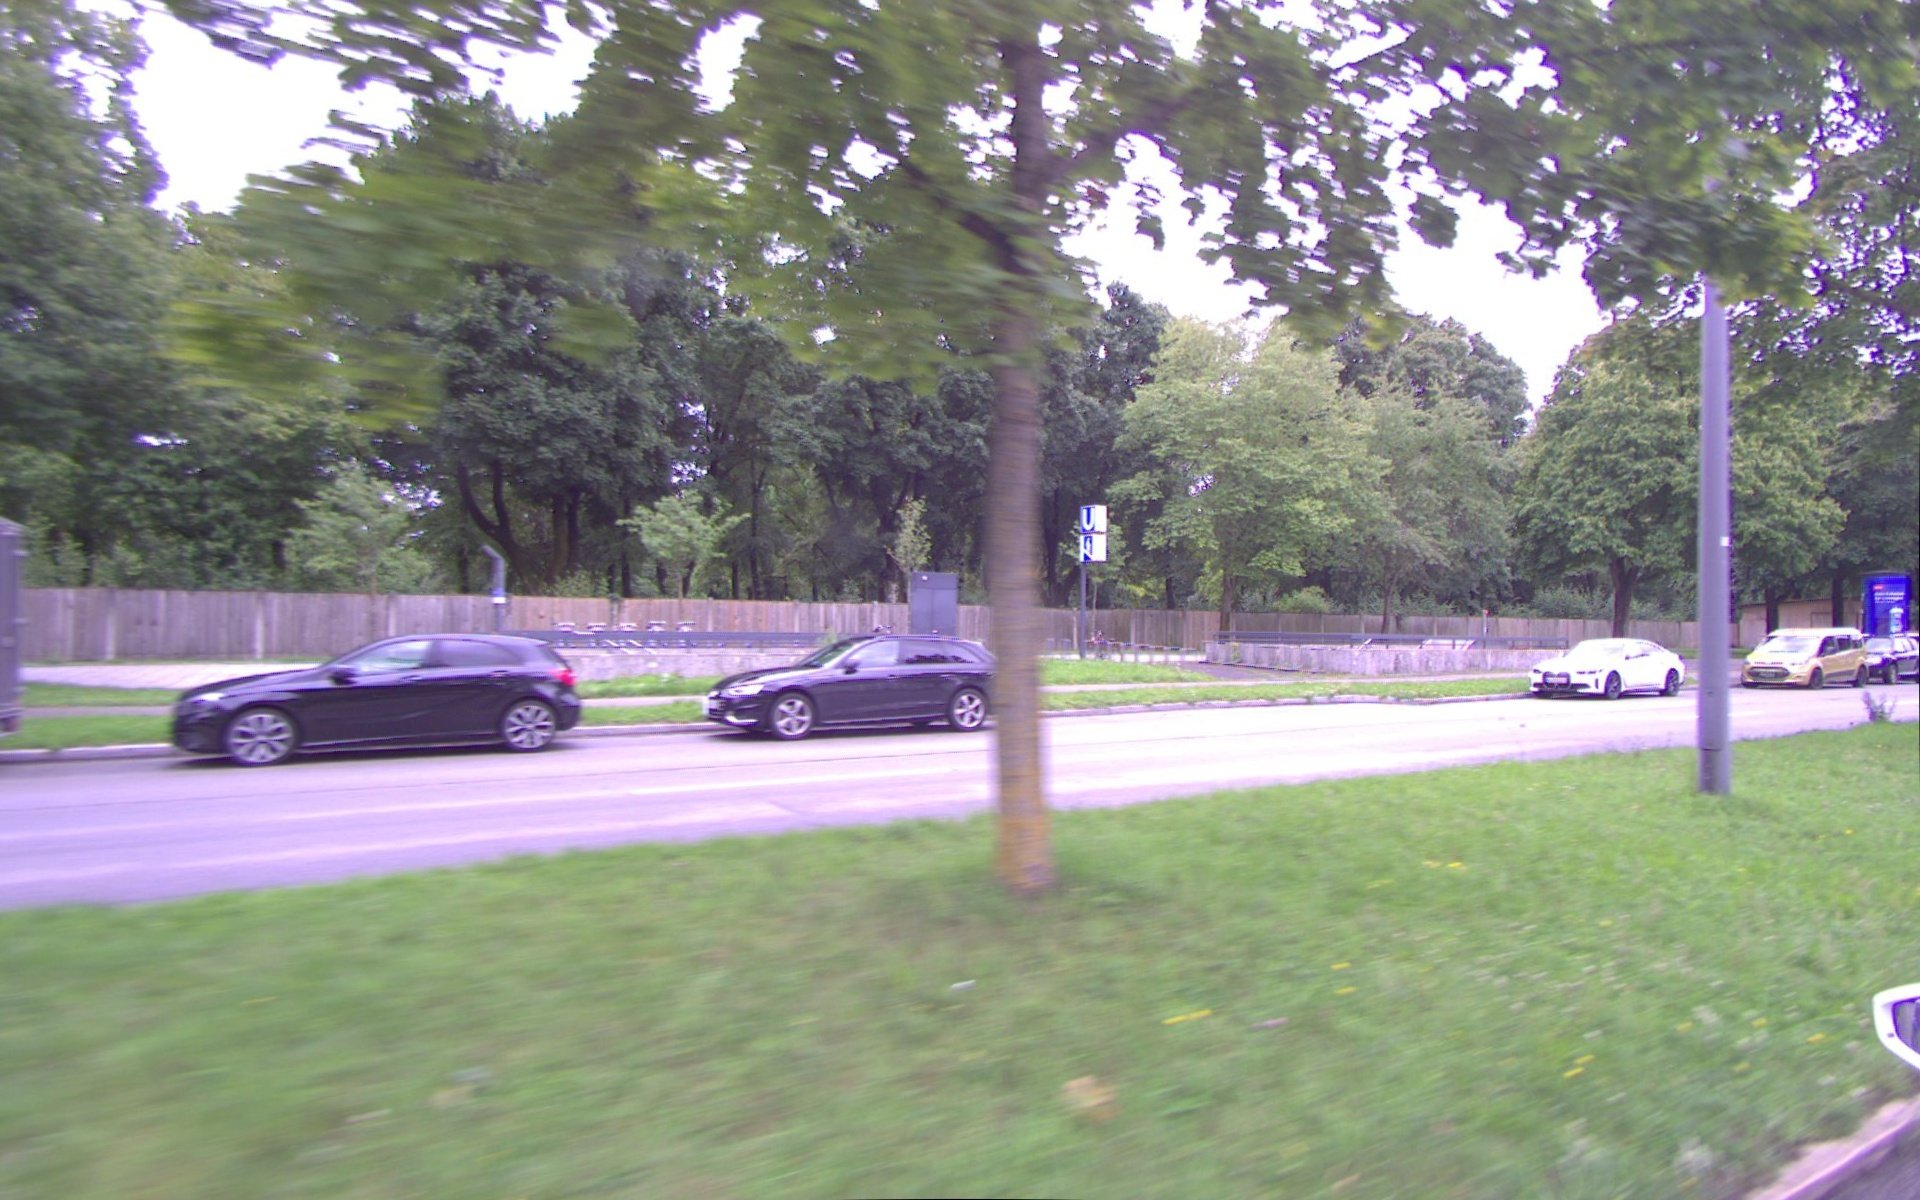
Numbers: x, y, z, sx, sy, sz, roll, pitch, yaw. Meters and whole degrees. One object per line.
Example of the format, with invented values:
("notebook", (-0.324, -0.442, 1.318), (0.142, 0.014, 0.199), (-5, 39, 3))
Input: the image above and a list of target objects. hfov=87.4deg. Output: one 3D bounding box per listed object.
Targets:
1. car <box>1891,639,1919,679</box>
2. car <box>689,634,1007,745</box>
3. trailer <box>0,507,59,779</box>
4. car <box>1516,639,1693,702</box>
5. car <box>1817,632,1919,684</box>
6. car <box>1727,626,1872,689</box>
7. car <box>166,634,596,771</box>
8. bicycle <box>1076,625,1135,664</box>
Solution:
("car", (36.633, 2.176, 37.331), (4.480, 1.468, 1.754), (1, -3, -30))
("car", (-1.616, 1.236, 14.966), (4.378, 1.444, 1.792), (1, -3, -30))
("trailer", (-11.600, 0.400, 9.176), (4.603, 2.624, 2.008), (1, -2, -30))
("car", (16.576, 1.744, 25.777), (4.818, 1.492, 1.848), (1, -3, -30))
("car", (31.185, 1.939, 34.204), (4.206, 1.667, 1.729), (1, -3, -30))
("car", (25.799, 1.733, 30.845), (4.758, 1.806, 1.807), (1, -2, -29))
("car", (-6.755, 1.125, 12.152), (4.187, 1.402, 1.792), (1, -3, -30))
("bicycle", (4.314, 1.322, 29.708), (1.803, 1.115, 0.429), (1, 0, -29))
